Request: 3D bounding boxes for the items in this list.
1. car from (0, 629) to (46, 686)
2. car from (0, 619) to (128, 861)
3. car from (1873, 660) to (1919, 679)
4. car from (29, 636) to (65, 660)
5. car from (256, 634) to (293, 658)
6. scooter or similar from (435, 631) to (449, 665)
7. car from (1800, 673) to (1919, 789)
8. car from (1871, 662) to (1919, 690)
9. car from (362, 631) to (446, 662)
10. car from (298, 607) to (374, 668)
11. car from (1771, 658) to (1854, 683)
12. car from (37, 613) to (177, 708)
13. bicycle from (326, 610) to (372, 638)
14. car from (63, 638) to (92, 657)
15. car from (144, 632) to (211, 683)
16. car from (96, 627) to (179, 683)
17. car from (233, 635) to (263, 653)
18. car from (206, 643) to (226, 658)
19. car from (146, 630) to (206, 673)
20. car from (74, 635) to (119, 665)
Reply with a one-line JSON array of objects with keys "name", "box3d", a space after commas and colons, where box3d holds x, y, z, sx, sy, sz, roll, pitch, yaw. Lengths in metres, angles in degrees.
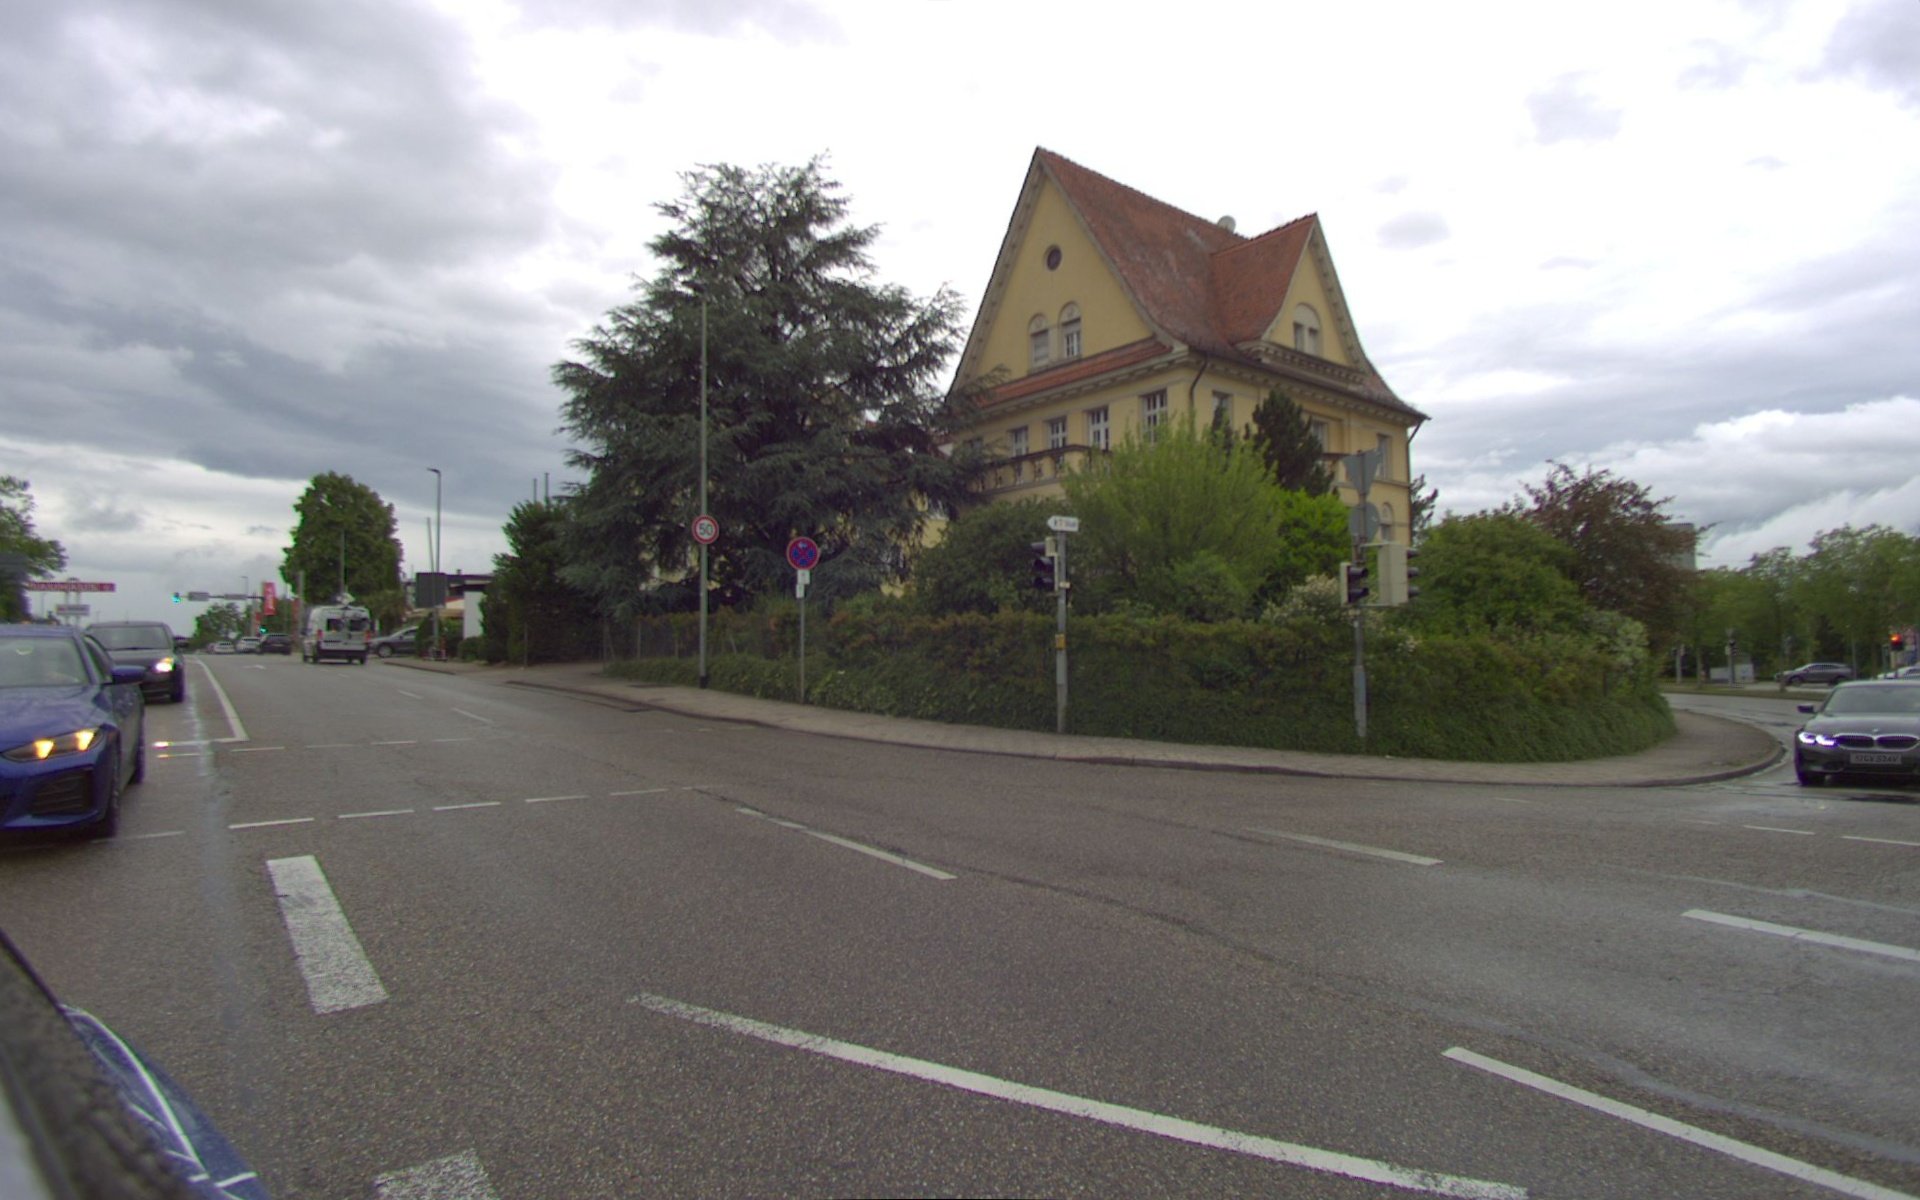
[{"name": "car", "box3d": [-29.841, 1.758, 31.353, 1.948, 1.634, 3.850, -1, 0, -38]}, {"name": "car", "box3d": [-7.298, 0.853, 7.362, 1.776, 1.418, 4.281, 1, -2, -38]}, {"name": "car", "box3d": [95.841, 7.072, 103.368, 3.676, 1.799, 1.728, -1, -2, 38]}, {"name": "car", "box3d": [-70.911, 3.695, 78.653, 1.788, 1.630, 3.916, -1, 0, -38]}, {"name": "car", "box3d": [-46.850, 3.125, 69.099, 1.753, 1.513, 4.481, 2, -2, -38]}, {"name": "scooter or similar", "box3d": [-22.342, 2.066, 43.616, 0.497, 1.416, 1.887, 1, -2, -27]}, {"name": "car", "box3d": [13.260, 1.770, 14.161, 4.368, 1.404, 1.778, 5, -6, -44]}, {"name": "car", "box3d": [65.510, 5.250, 69.942, 3.677, 1.799, 1.708, -1, -2, 40]}, {"name": "car", "box3d": [-30.215, 2.507, 55.017, 3.868, 1.664, 1.723, 1, -2, -32]}, {"name": "car", "box3d": [-28.395, 1.720, 45.956, 2.267, 2.547, 5.786, 4, -4, -37]}, {"name": "car", "box3d": [60.526, 5.003, 71.912, 4.051, 1.538, 1.717, -4, -3, 22]}, {"name": "car", "box3d": [-15.884, 1.087, 19.037, 1.779, 1.564, 4.231, 1, -3, -37]}, {"name": "bicycle", "box3d": [-26.327, 1.028, 43.626, 1.615, 1.134, 0.469, 3, -4, -38]}, {"name": "car", "box3d": [-82.236, 4.404, 94.357, 1.969, 1.691, 4.006, 1, -2, -41]}, {"name": "car", "box3d": [-29.342, 2.100, 38.005, 1.898, 1.731, 4.108, -1, -1, -37]}, {"name": "car", "box3d": [-24.668, 1.588, 30.448, 1.779, 1.564, 4.008, 1, -2, -37]}, {"name": "car", "box3d": [-60.224, 3.712, 85.631, 1.724, 1.408, 3.808, 1, -2, -40]}, {"name": "car", "box3d": [-87.018, 5.888, 118.383, 1.678, 1.611, 3.556, 1, -2, -40]}, {"name": "car", "box3d": [-33.262, 2.148, 43.013, 1.898, 1.731, 4.108, 1, -2, -37]}, {"name": "car", "box3d": [-50.992, 2.928, 59.794, 1.800, 1.634, 3.849, 2, -2, -38]}]
